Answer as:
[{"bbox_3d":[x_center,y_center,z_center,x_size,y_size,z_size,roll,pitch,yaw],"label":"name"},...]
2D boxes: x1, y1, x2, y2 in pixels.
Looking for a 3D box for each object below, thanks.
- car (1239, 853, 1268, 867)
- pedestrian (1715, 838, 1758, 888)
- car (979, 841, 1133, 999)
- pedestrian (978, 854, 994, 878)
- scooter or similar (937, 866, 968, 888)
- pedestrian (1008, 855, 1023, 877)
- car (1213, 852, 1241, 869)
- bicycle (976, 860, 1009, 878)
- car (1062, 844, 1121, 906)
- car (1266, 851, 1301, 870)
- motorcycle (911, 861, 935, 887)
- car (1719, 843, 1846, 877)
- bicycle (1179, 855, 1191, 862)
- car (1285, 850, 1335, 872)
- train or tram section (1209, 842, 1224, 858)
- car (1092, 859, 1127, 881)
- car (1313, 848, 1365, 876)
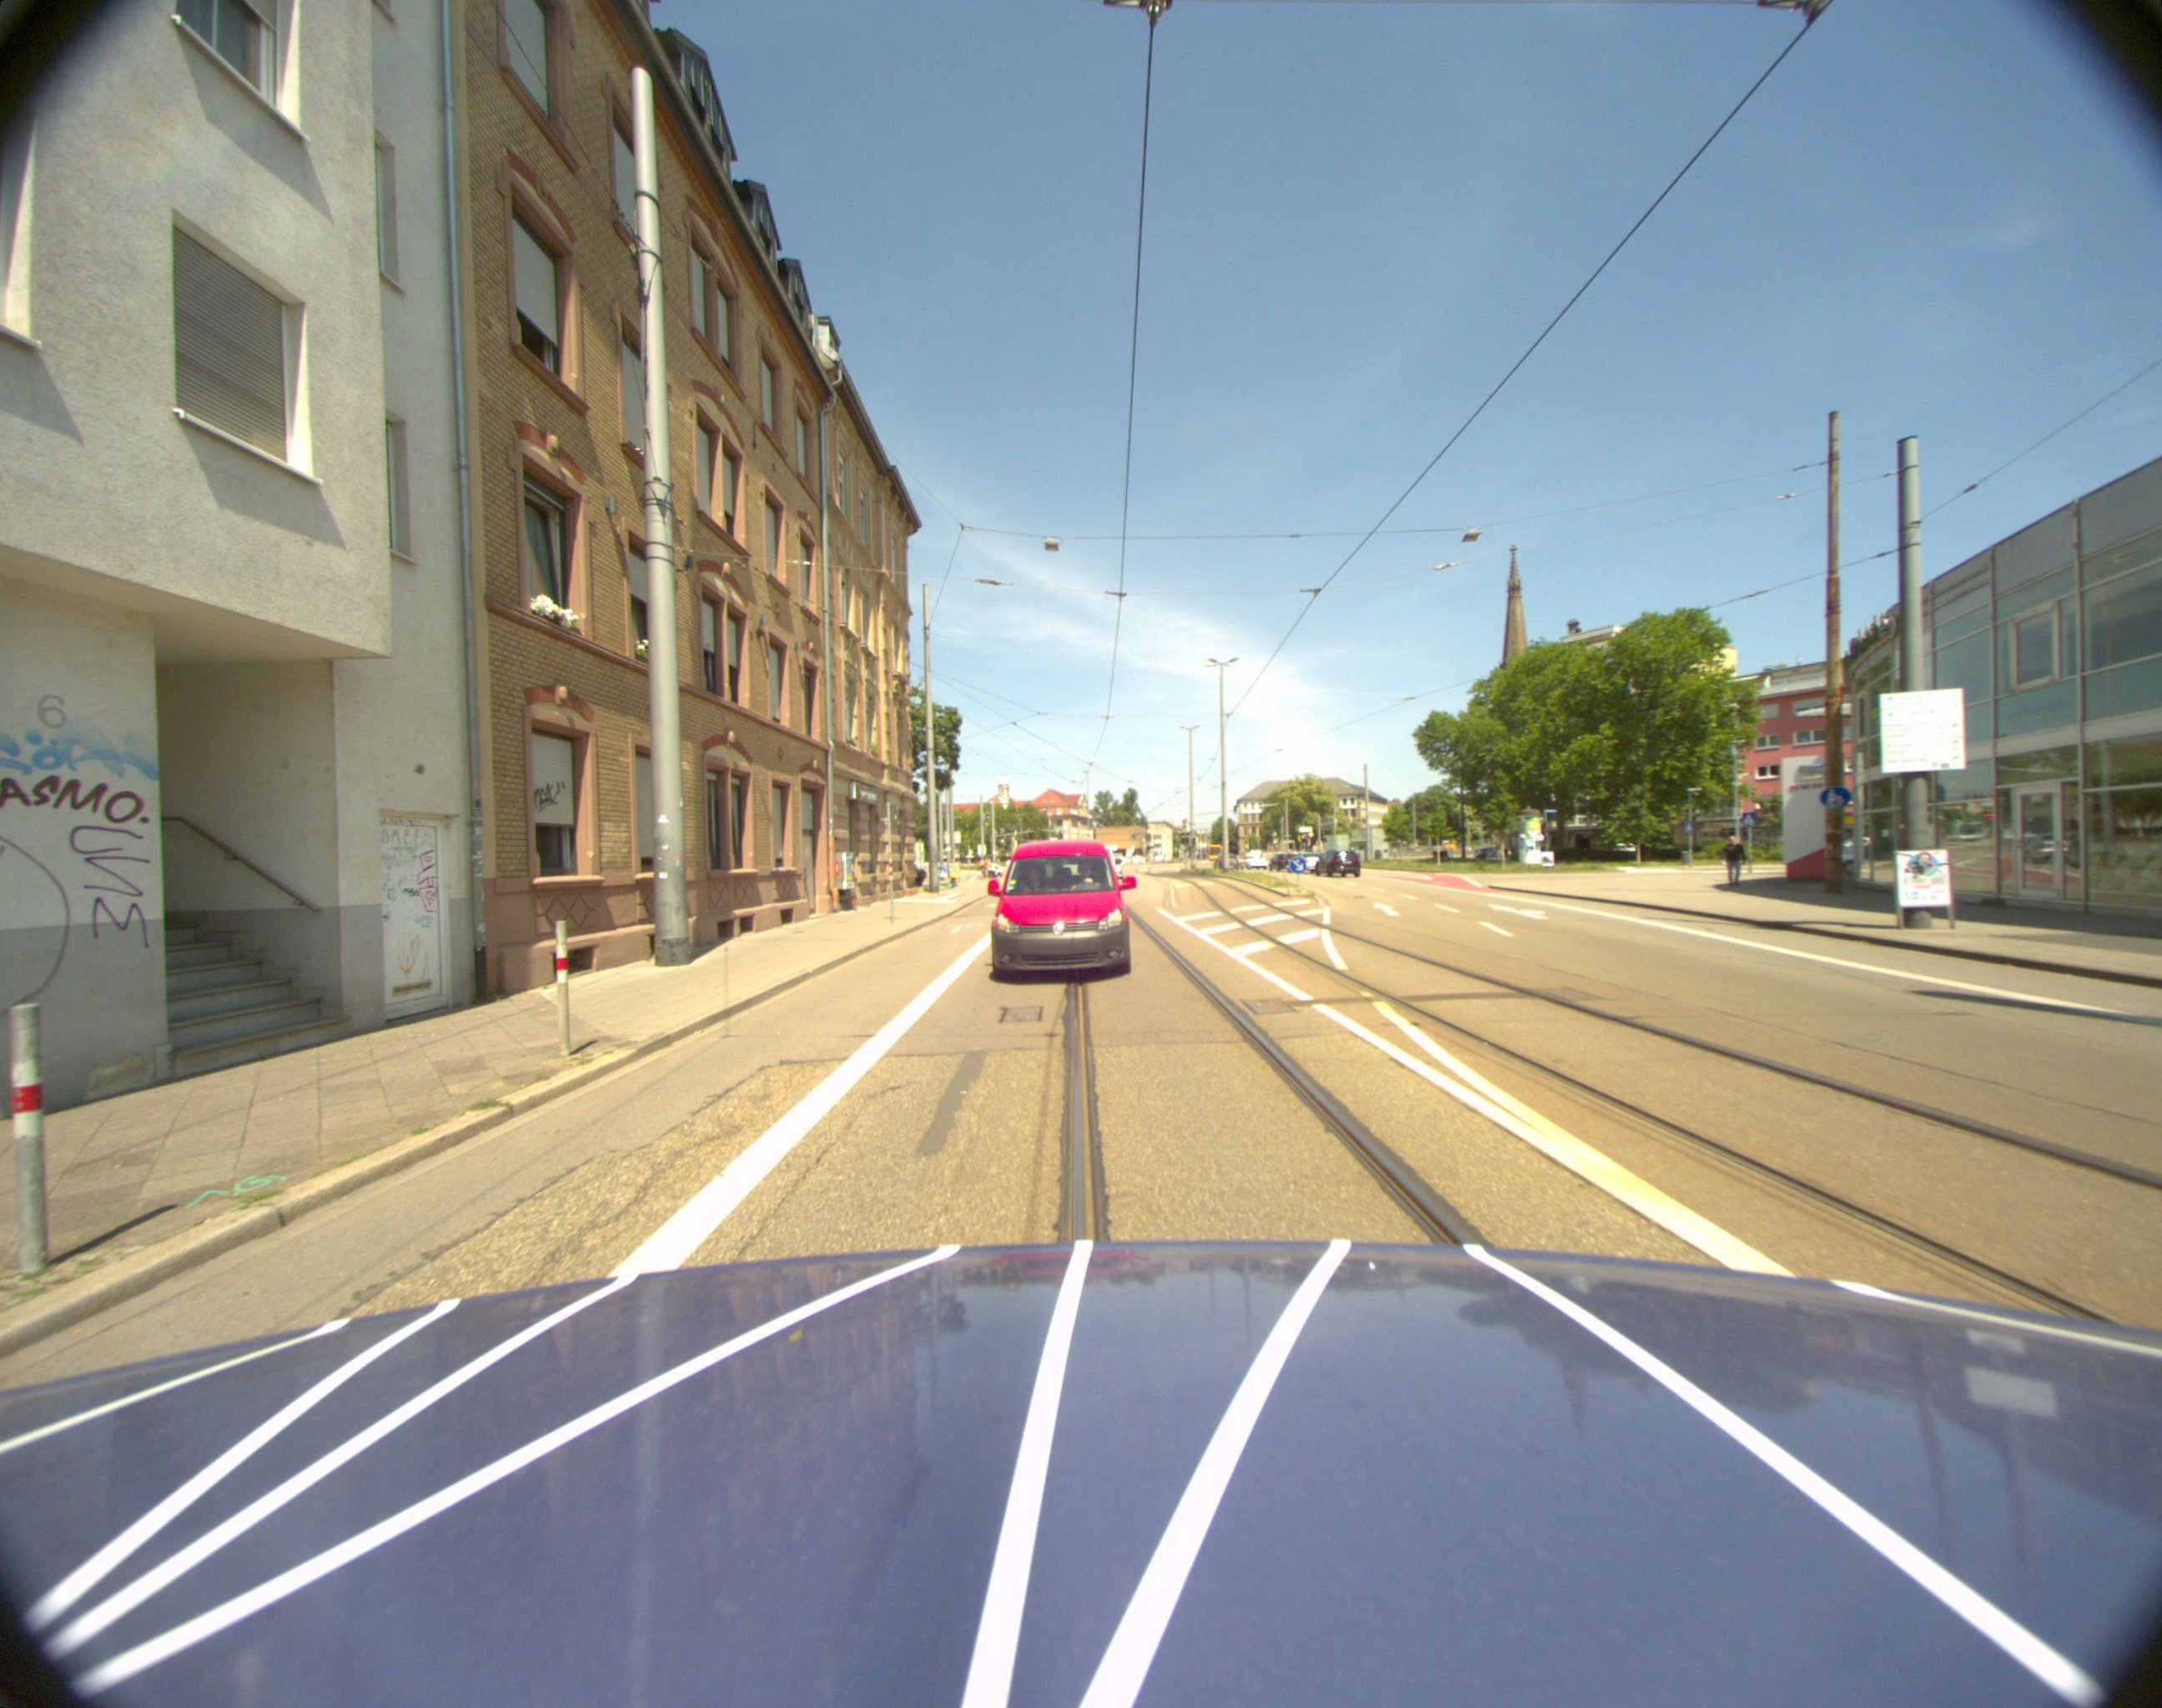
[{"bbox_3d":[16.257,0.558,71.854,1.711,1.291,4.203,0,0,0],"label":"car"},{"bbox_3d":[21.811,0.305,25.291,0.729,1.632,0.820,-2,0,4],"label":"pedestrian"},{"bbox_3d":[-0.235,0.770,10.954,1.755,1.802,4.097,-2,0,2],"label":"car"},{"bbox_3d":[-7.039,0.864,56.397,0.826,1.765,0.812,-3,2,-44],"label":"pedestrian"},{"bbox_3d":[-7.029,1.235,41.627,1.527,1.149,0.713,-2,0,-28],"label":"scooter or similar"},{"bbox_3d":[-5.307,0.955,61.664,0.808,1.769,0.876,-1,1,32],"label":"pedestrian"},{"bbox_3d":[13.409,0.602,69.943,1.848,1.471,4.330,-1,0,1],"label":"car"},{"bbox_3d":[-6.615,1.140,56.872,2.225,1.243,1.096,-2,0,-44],"label":"bicycle"},{"bbox_3d":[0.366,0.680,26.758,1.874,1.954,3.823,-2,0,1],"label":"car"},{"bbox_3d":[15.943,0.474,59.998,1.675,1.453,3.903,-1,0,0],"label":"car"},{"bbox_3d":[-8.777,1.079,42.312,0.765,1.354,2.595,-2,1,1],"label":"motorcycle"},{"bbox_3d":[32.037,0.282,34.814,1.505,1.448,4.045,-2,0,-35],"label":"car"},{"bbox_3d":[17.057,0.738,124.474,1.906,0.973,0.528,-2,0,-4],"label":"bicycle"},{"bbox_3d":[16.263,0.465,54.221,1.998,1.521,5.131,0,0,0],"label":"car"},{"bbox_3d":[27.368,-0.794,154.115,2.840,3.195,9.116,-2,0,10],"label":"train or tram section"},{"bbox_3d":[1.889,1.059,51.156,1.572,1.346,3.455,-2,0,-12],"label":"car"},{"bbox_3d":[15.568,0.441,46.043,1.826,1.617,4.526,0,0,3],"label":"car"}]
